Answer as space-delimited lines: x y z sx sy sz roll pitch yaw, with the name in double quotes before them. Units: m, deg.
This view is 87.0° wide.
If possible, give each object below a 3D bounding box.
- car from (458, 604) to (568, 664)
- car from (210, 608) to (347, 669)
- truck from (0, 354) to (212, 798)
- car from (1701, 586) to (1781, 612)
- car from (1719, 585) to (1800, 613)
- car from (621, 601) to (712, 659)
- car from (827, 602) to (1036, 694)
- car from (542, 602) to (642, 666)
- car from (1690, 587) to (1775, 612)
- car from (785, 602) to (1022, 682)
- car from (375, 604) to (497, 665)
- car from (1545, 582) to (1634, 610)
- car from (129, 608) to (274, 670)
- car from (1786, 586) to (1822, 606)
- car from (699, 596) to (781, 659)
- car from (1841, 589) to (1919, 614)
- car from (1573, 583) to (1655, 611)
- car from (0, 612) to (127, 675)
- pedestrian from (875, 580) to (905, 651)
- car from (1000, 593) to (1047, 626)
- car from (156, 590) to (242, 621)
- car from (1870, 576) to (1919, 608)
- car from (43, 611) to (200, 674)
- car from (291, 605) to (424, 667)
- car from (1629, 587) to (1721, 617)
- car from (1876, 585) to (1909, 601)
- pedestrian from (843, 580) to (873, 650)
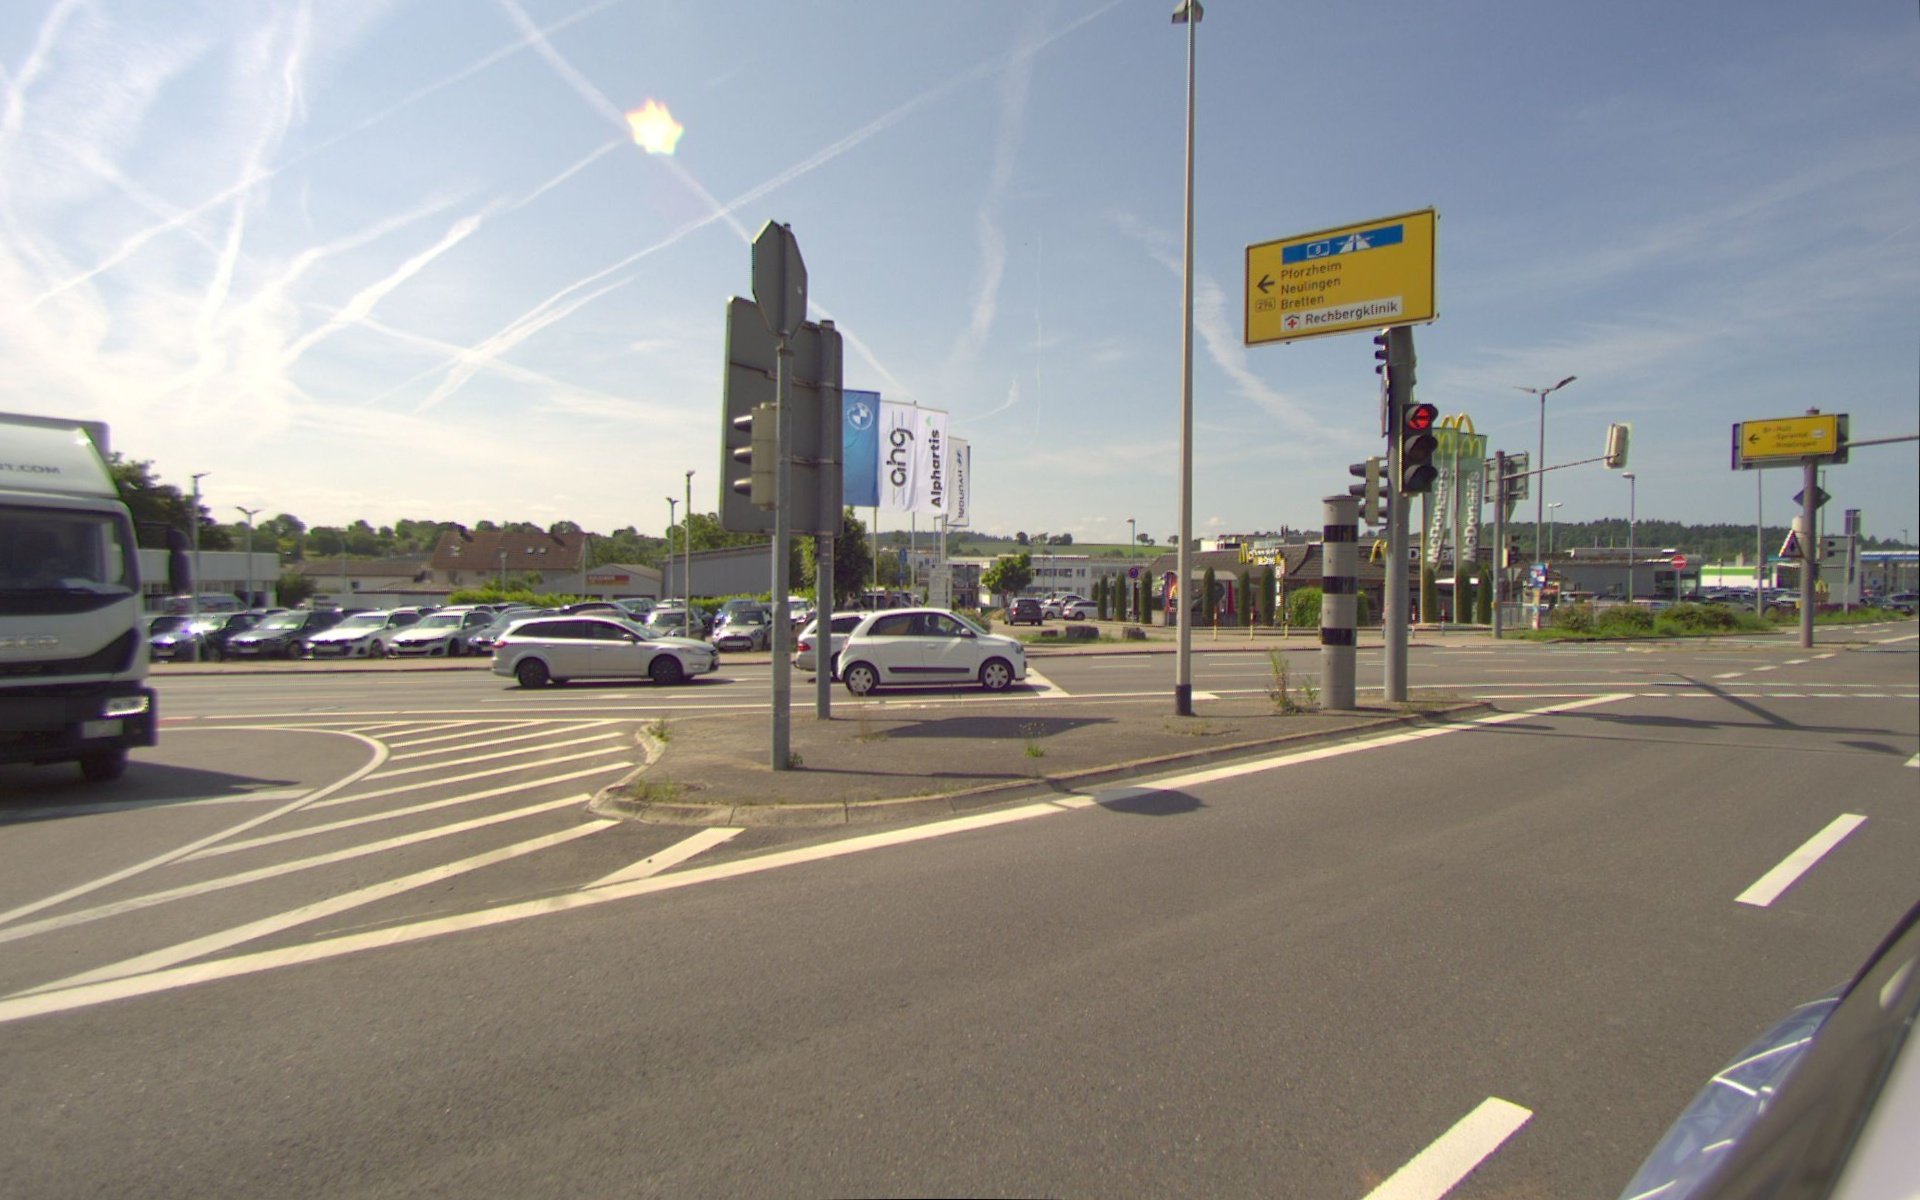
"car" -14.376 1.039 32.800 1.961 1.638 4.004 1 2 -3
"car" -21.867 1.186 32.668 2.049 1.638 4.042 1 2 -6
"truck" -11.884 0.033 11.102 9.629 3.674 2.735 -4 -1 33
"car" 55.333 -0.101 71.786 3.942 1.691 1.913 2 2 14
"car" 54.804 -0.102 69.425 3.983 1.691 1.761 2 2 25
"car" -9.480 0.927 32.963 1.961 1.593 4.004 1 2 -3
"car" -0.526 0.857 18.932 3.684 1.523 1.711 -2 0 0
"car" -11.872 1.059 32.913 1.961 1.749 4.004 1 2 -3
"car" 50.325 -0.055 65.975 4.180 1.510 1.751 1 2 -3
"car" -1.192 0.881 22.167 4.905 1.524 2.000 -2 0 0
"car" -16.992 1.064 33.089 1.960 1.638 4.485 1 2 -5
"car" 41.778 -0.292 67.199 4.723 1.691 1.914 1 2 -3
"car" -24.272 1.200 32.587 2.049 1.638 3.933 1 2 -6
"car" 75.336 -0.346 90.302 4.631 1.674 1.905 -1 3 -43
"car" -7.102 0.835 33.052 1.961 1.744 4.004 1 2 -3
"car" 57.443 0.104 62.575 1.932 1.350 4.807 -3 -1 6
"car" 41.961 -0.202 64.961 4.088 1.691 1.778 1 2 -3
"car" -29.209 1.339 32.388 2.061 1.638 4.088 1 2 -7
"pedestrian" -2.035 0.448 29.602 0.861 2.039 0.665 0 1 -3
"car" 3.367 0.471 54.560 1.960 1.538 4.454 1 2 -4
"car" -44.691 0.292 59.549 1.970 1.638 4.192 1 2 -1
"car" 69.389 -0.587 73.651 4.298 2.240 1.751 2 2 22
"car" -26.759 1.307 32.492 2.049 1.638 4.007 1 2 -6
"car" -19.447 1.108 32.922 2.049 1.638 4.482 1 2 -7
"car" 42.541 0.112 60.266 4.150 1.595 1.863 1 2 -3
"car" 102.579 -0.787 111.314 4.068 1.599 1.777 0 2 -34
"pedestrian" -2.972 0.429 29.564 0.861 2.039 0.665 0 1 -3
